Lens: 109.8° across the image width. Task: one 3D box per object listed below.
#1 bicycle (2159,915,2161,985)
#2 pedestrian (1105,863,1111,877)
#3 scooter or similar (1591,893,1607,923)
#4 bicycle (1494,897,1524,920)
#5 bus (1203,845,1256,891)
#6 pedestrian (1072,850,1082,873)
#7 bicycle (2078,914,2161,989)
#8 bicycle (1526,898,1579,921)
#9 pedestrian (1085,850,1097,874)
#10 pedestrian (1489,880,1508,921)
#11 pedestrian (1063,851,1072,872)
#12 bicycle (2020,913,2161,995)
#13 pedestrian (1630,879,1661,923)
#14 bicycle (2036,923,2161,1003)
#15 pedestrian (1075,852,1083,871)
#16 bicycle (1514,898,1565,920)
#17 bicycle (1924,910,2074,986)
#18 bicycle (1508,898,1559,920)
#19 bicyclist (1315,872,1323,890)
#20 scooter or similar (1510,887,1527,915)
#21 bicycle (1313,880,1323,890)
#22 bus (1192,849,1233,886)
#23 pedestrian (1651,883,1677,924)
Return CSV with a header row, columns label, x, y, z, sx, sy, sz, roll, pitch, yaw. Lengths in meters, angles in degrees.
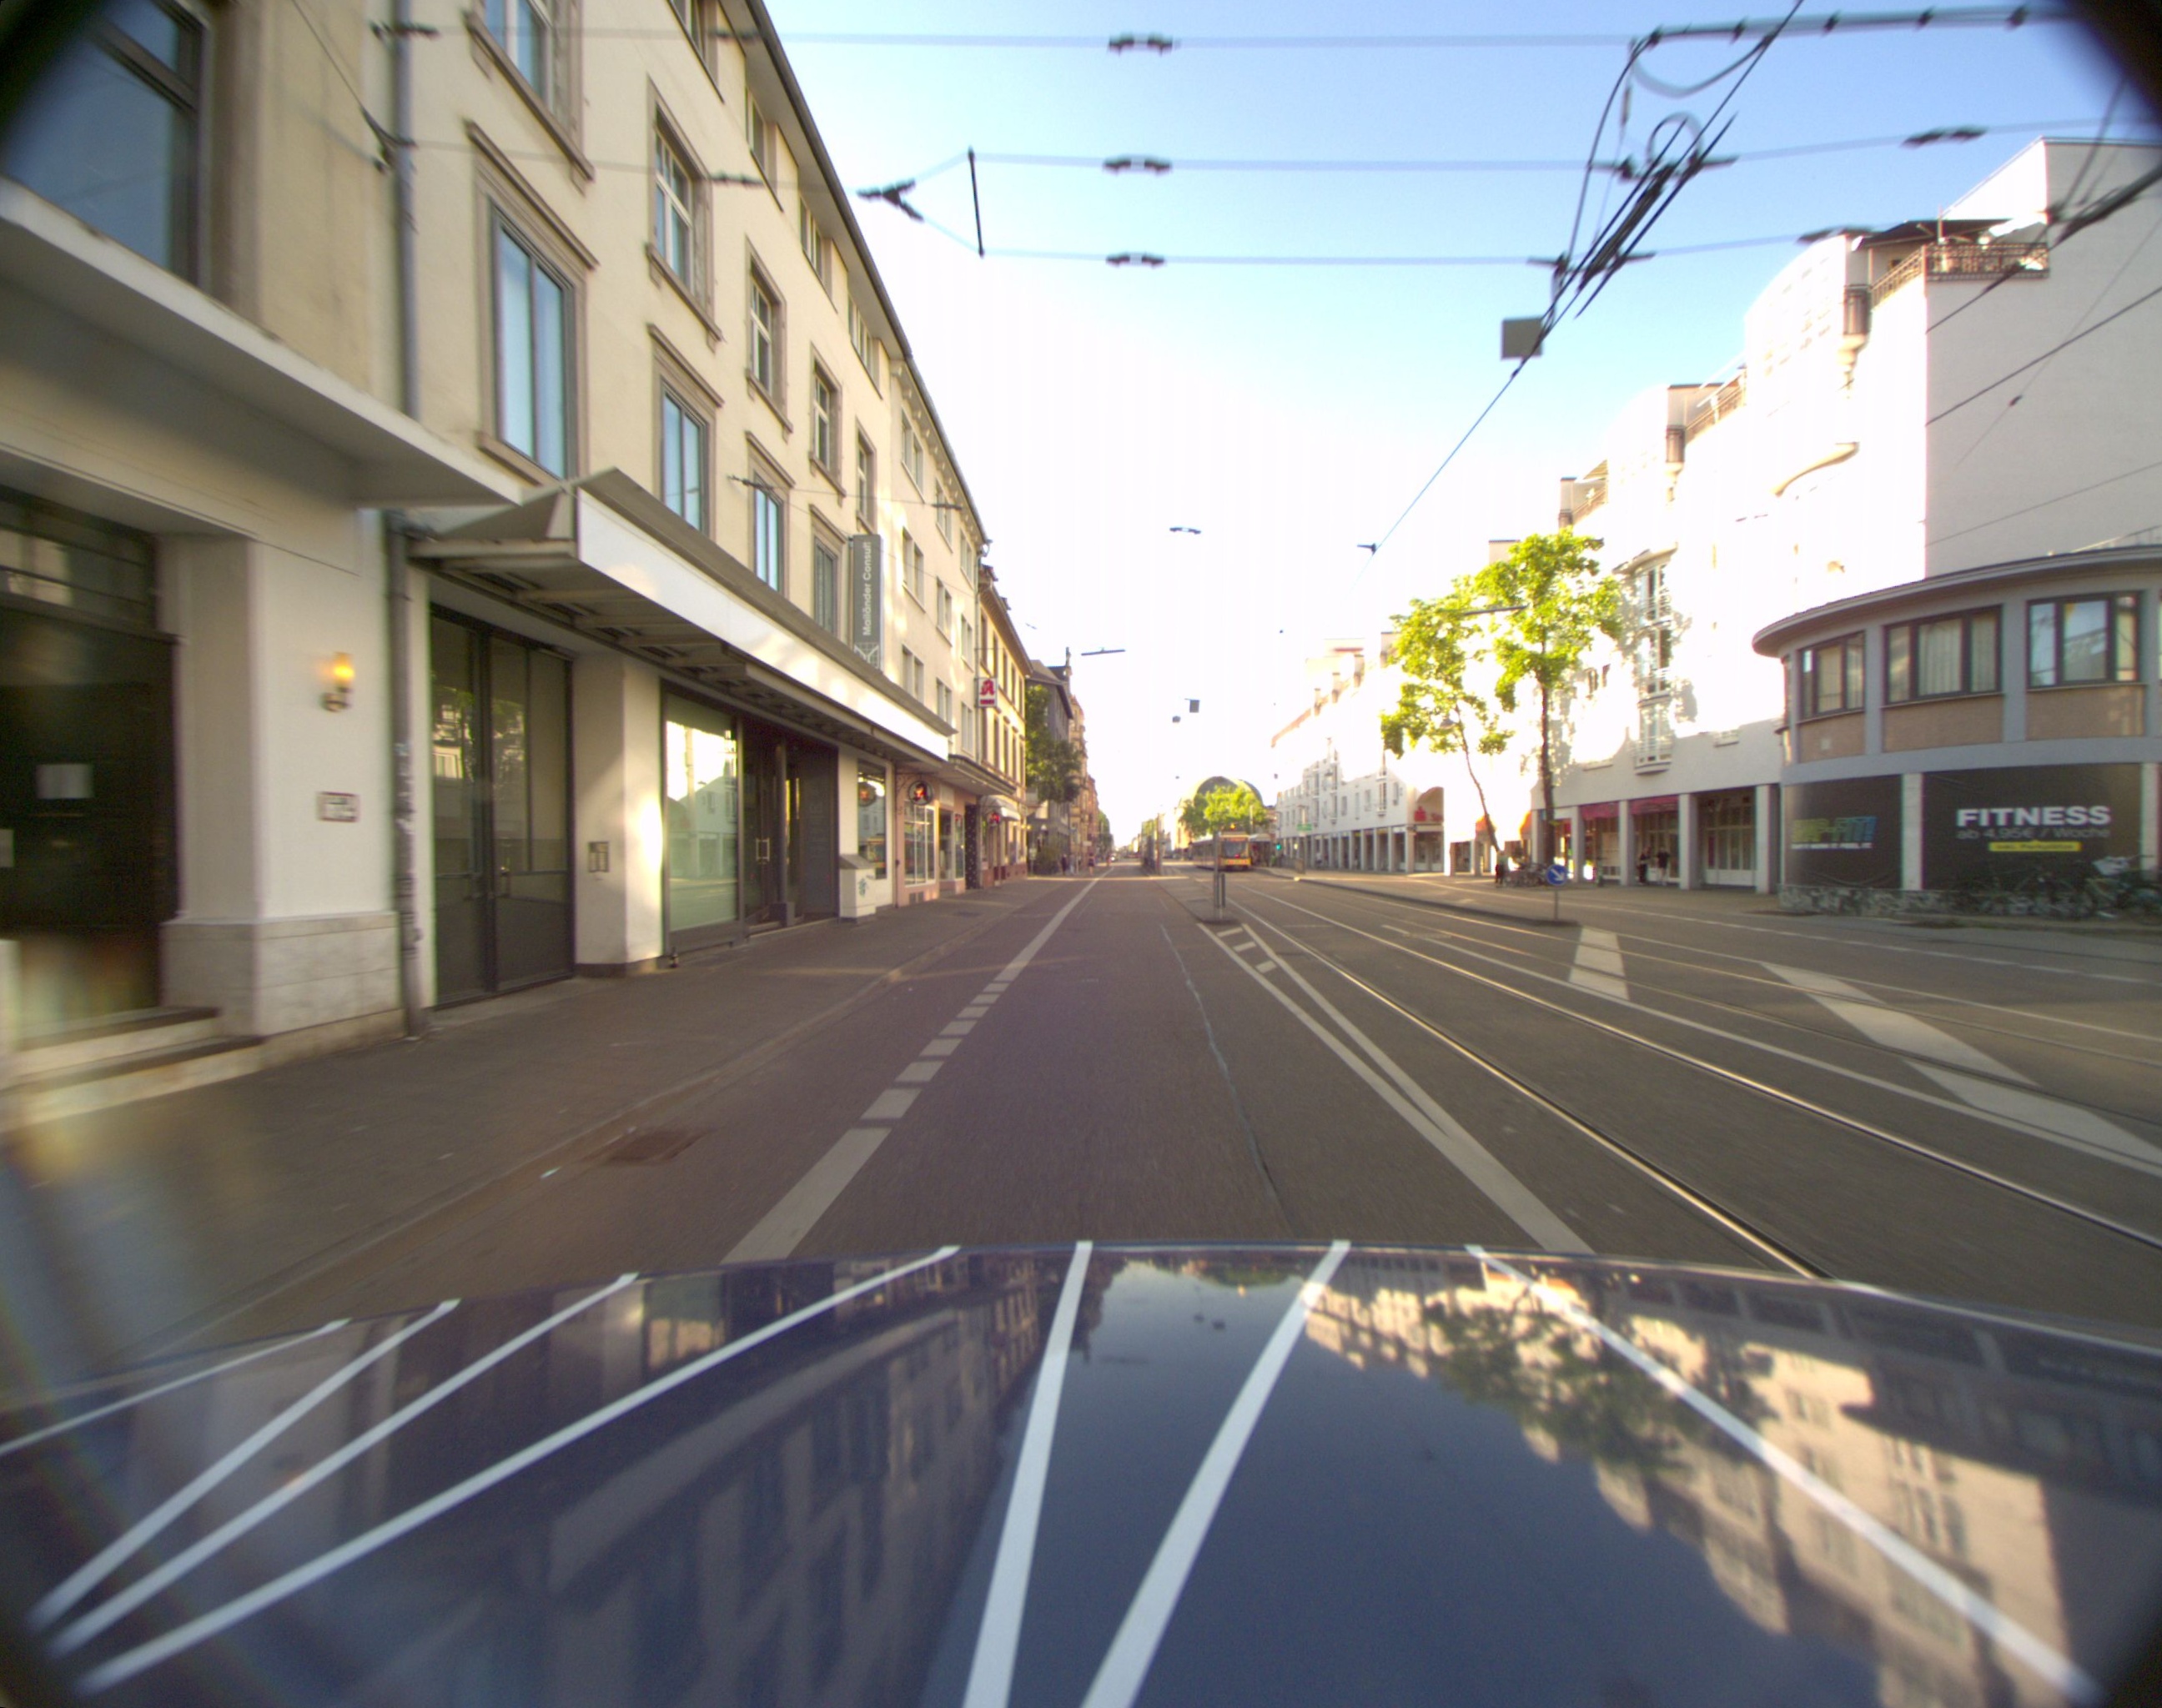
label,x,y,z,sx,sy,sz,roll,pitch,yaw
bicycle,18.614,1.621,12.044,0.449,1.180,1.832,2,-1,1
pedestrian,3.556,2.126,100.000,0.694,1.760,0.697,1,0,8
scooter or similar,20.383,2.107,29.897,0.335,1.105,1.182,1,0,27
bicycle,18.318,2.322,32.541,0.389,0.907,1.852,0,-1,4
bus,12.741,1.217,66.386,2.817,3.546,13.685,1,-1,4
pedestrian,-0.289,0.567,56.976,0.651,1.706,0.806,1,0,-3
bicycle,18.080,1.654,12.699,0.444,1.180,1.832,2,-1,1
bicycle,19.416,2.286,31.334,1.848,0.907,0.390,0,0,9
pedestrian,0.736,0.617,56.545,0.807,1.789,0.762,1,0,4
pedestrian,17.982,1.998,32.724,0.630,1.706,0.827,1,0,31
pedestrian,-1.029,0.585,56.910,0.651,1.569,0.682,1,0,-3
bicycle,17.010,1.622,12.643,0.441,1.180,1.831,2,-1,-2
pedestrian,22.925,1.898,30.868,0.631,1.706,0.825,1,0,5
bicycle,17.576,1.826,12.890,0.449,1.180,1.832,2,-1,1
pedestrian,-0.157,0.719,72.164,0.650,1.760,0.697,1,0,8
bicycle,19.477,2.330,32.288,1.848,0.907,0.390,0,-1,9
bicycle,16.530,1.660,13.755,0.446,1.180,1.831,2,-1,-3
bicycle,19.532,2.363,32.816,1.848,0.907,0.390,0,0,9
bicyclist,22.811,2.552,72.907,0.514,1.690,0.808,0,0,4
scooter or similar,20.708,2.215,35.963,0.378,1.271,1.181,-2,-1,15
bicycle,22.711,2.970,72.863,0.518,0.983,1.728,0,-1,4
bus,13.669,1.421,79.959,2.817,3.546,13.685,1,-1,4
pedestrian,23.037,1.947,30.026,0.560,1.566,0.632,1,0,5
